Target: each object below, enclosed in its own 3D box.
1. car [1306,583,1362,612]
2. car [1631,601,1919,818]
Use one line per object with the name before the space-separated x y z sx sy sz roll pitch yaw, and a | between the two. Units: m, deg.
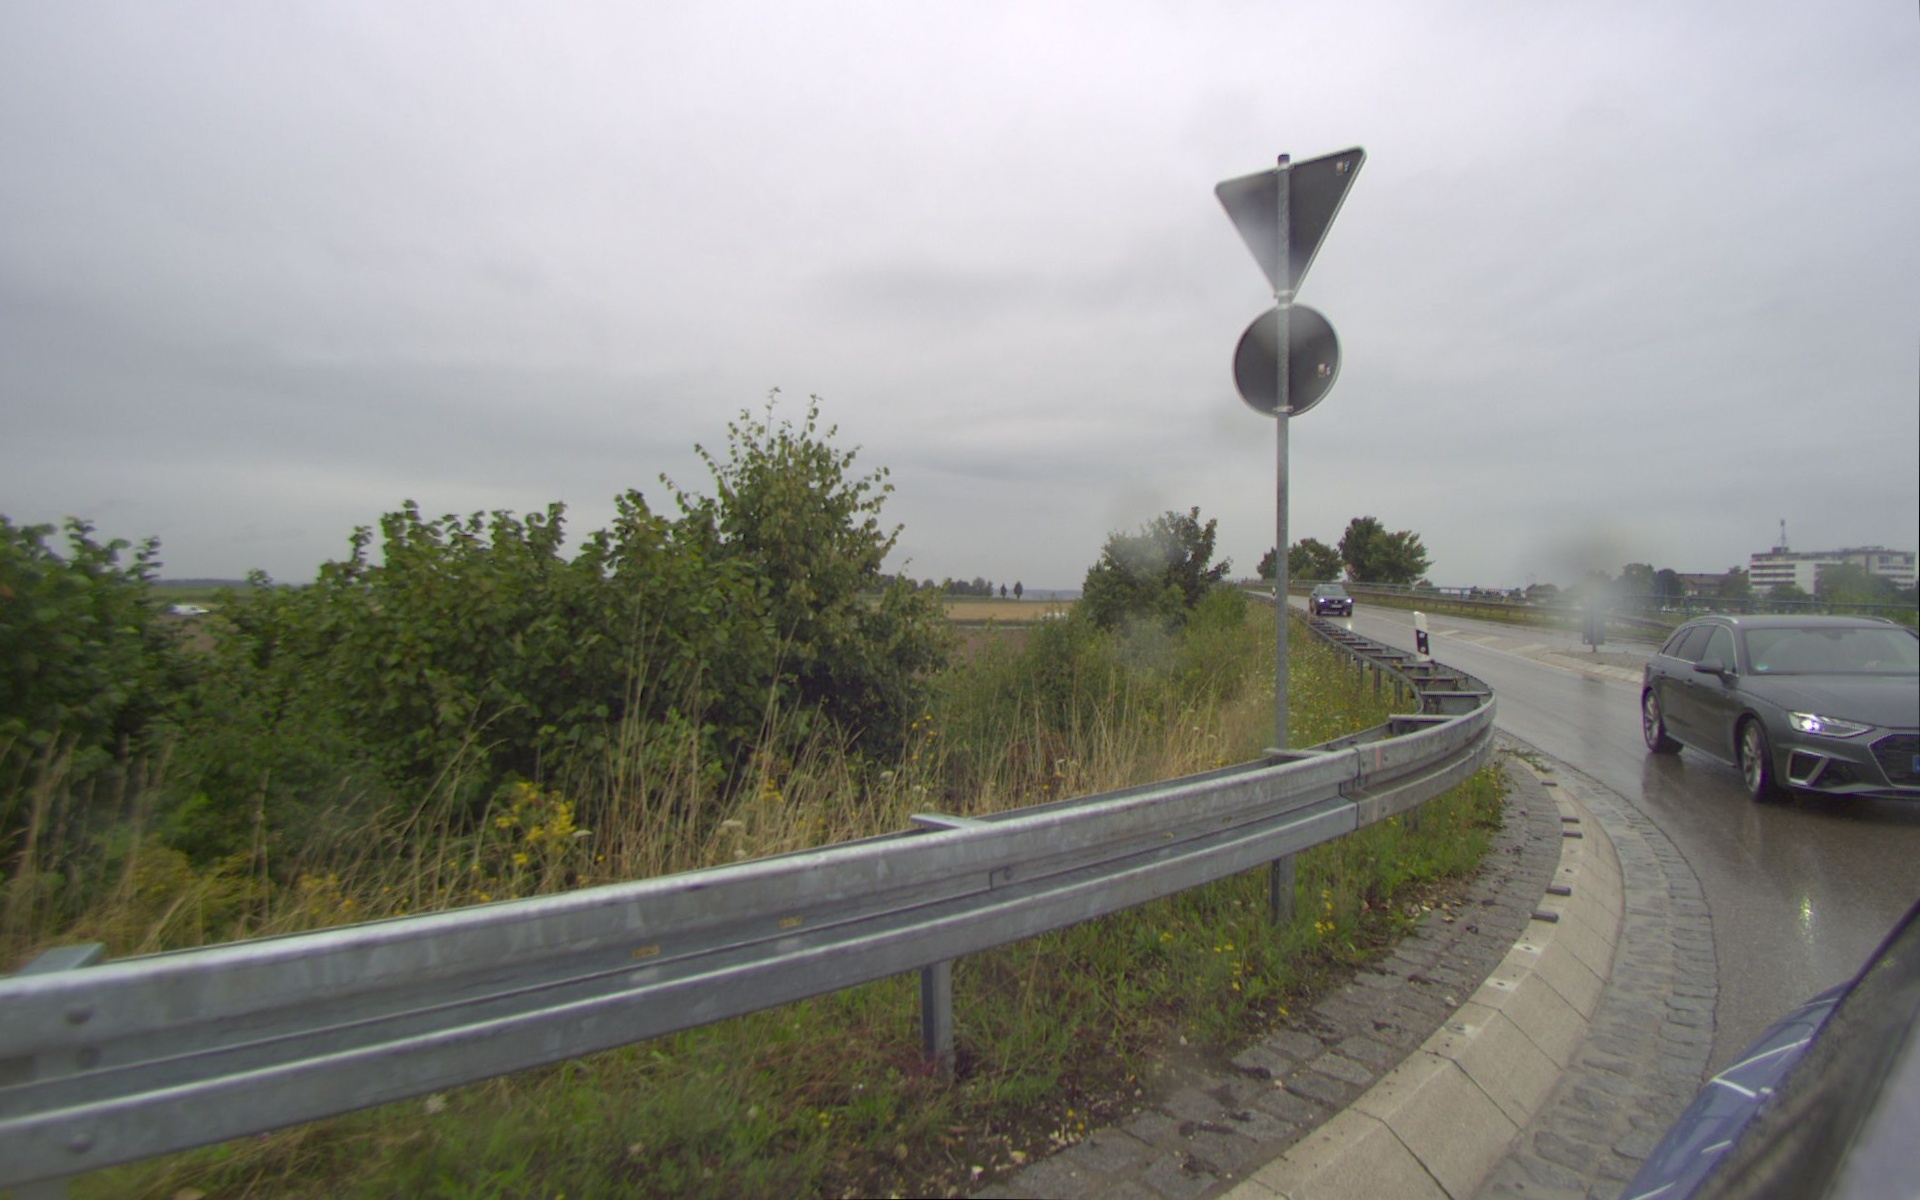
car | 19.255 -0.180 52.321 1.880 1.386 4.553 0 1 10
car | 7.521 0.743 8.759 1.888 1.386 4.532 -2 -1 21
